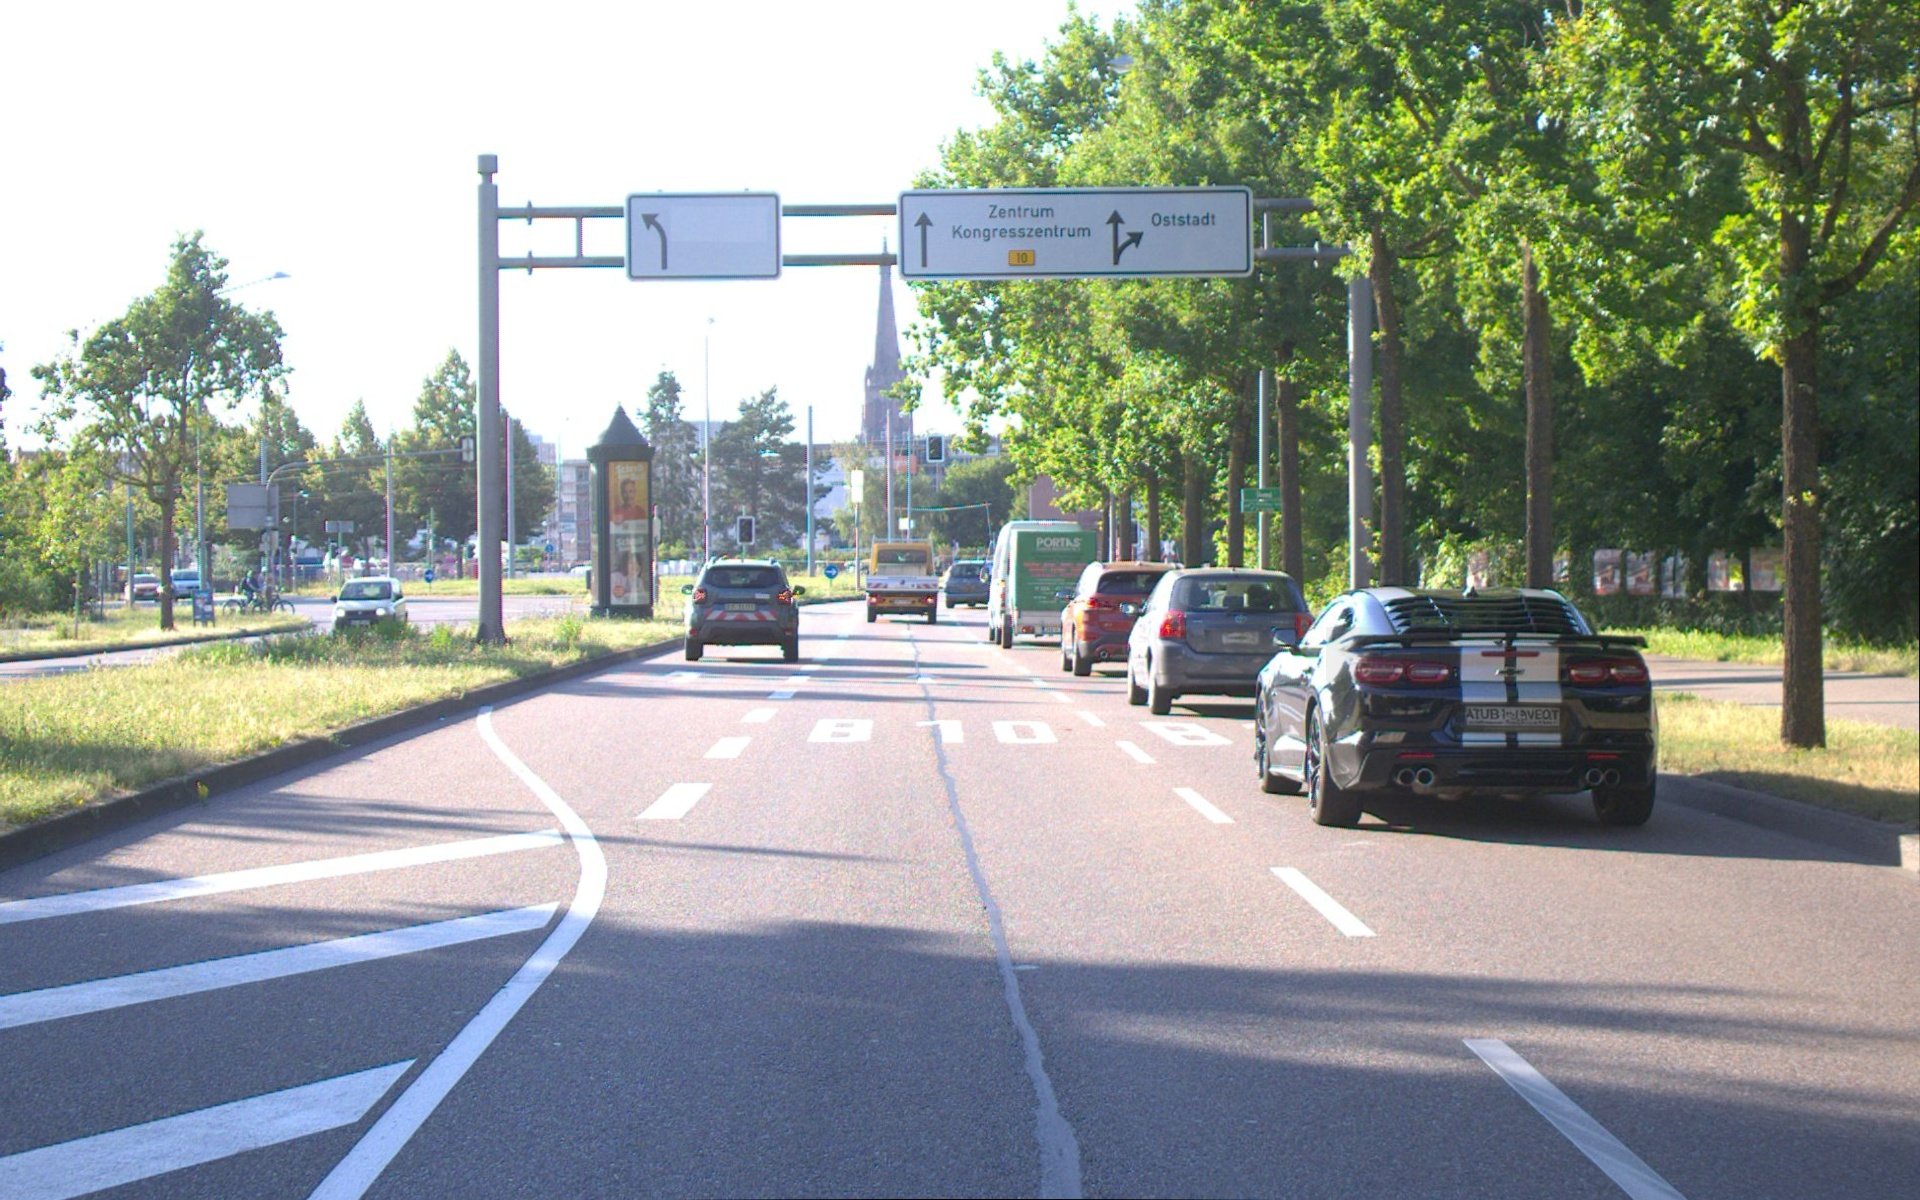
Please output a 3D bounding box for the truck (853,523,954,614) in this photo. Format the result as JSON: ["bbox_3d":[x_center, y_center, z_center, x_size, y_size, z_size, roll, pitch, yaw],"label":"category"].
[{"bbox_3d":[-1.702,-0.937,100.403,2.580,2.549,6.252,-1,1,-4],"label":"truck"}]

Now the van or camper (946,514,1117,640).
[{"bbox_3d":[1.483,-0.537,75.040,2.284,2.620,6.585,0,1,-12],"label":"van or camper"}]

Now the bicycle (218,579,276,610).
[{"bbox_3d":[-24.419,-0.195,117.713,1.909,1.016,0.504,1,0,15],"label":"bicycle"}]

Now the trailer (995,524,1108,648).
[{"bbox_3d":[1.813,-0.297,69.302,2.090,2.392,3.501,1,1,-1],"label":"trailer"}]

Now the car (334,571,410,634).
[{"bbox_3d":[-15.171,0.049,88.802,1.562,1.569,3.413,-1,1,-4],"label":"car"}]

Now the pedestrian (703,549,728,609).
[{"bbox_3d":[-8.259,-0.702,116.081,0.789,2.007,0.701,0,1,-7],"label":"pedestrian"}]

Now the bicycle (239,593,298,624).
[{"bbox_3d":[-23.937,0.291,119.018,1.909,1.016,0.504,1,0,6],"label":"bicycle"}]

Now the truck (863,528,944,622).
[{"bbox_3d":[-1.665,-0.759,99.785,2.219,2.642,4.774,0,1,-2],"label":"truck"}]

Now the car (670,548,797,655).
[{"bbox_3d":[-3.717,0.010,55.897,1.905,1.654,4.001,-1,1,-6],"label":"car"}]

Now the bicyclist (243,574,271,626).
[{"bbox_3d":[-24.348,-0.001,119.071,0.813,1.783,0.496,1,1,7],"label":"bicyclist"}]

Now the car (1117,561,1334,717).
[{"bbox_3d":[2.671,0.359,35.303,1.747,1.468,3.820,-1,1,-3],"label":"car"}]

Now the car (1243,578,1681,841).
[{"bbox_3d":[2.848,0.562,20.493,1.854,1.333,4.625,0,1,-1],"label":"car"}]

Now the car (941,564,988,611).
[{"bbox_3d":[0.136,-0.445,121.101,1.602,1.604,4.000,0,1,-1],"label":"car"}]

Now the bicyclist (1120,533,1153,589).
[{"bbox_3d":[6.126,-1.360,119.327,0.938,1.892,0.600,-2,0,36],"label":"bicyclist"}]

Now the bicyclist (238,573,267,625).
[{"bbox_3d":[-24.238,-0.038,117.759,0.813,1.764,0.496,1,1,14],"label":"bicyclist"}]

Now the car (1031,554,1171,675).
[{"bbox_3d":[1.965,0.171,48.790,1.747,1.615,3.820,1,1,-1],"label":"car"}]

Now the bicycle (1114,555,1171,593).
[{"bbox_3d":[6.332,-0.904,119.177,1.908,1.240,0.608,-2,0,36],"label":"bicycle"}]
